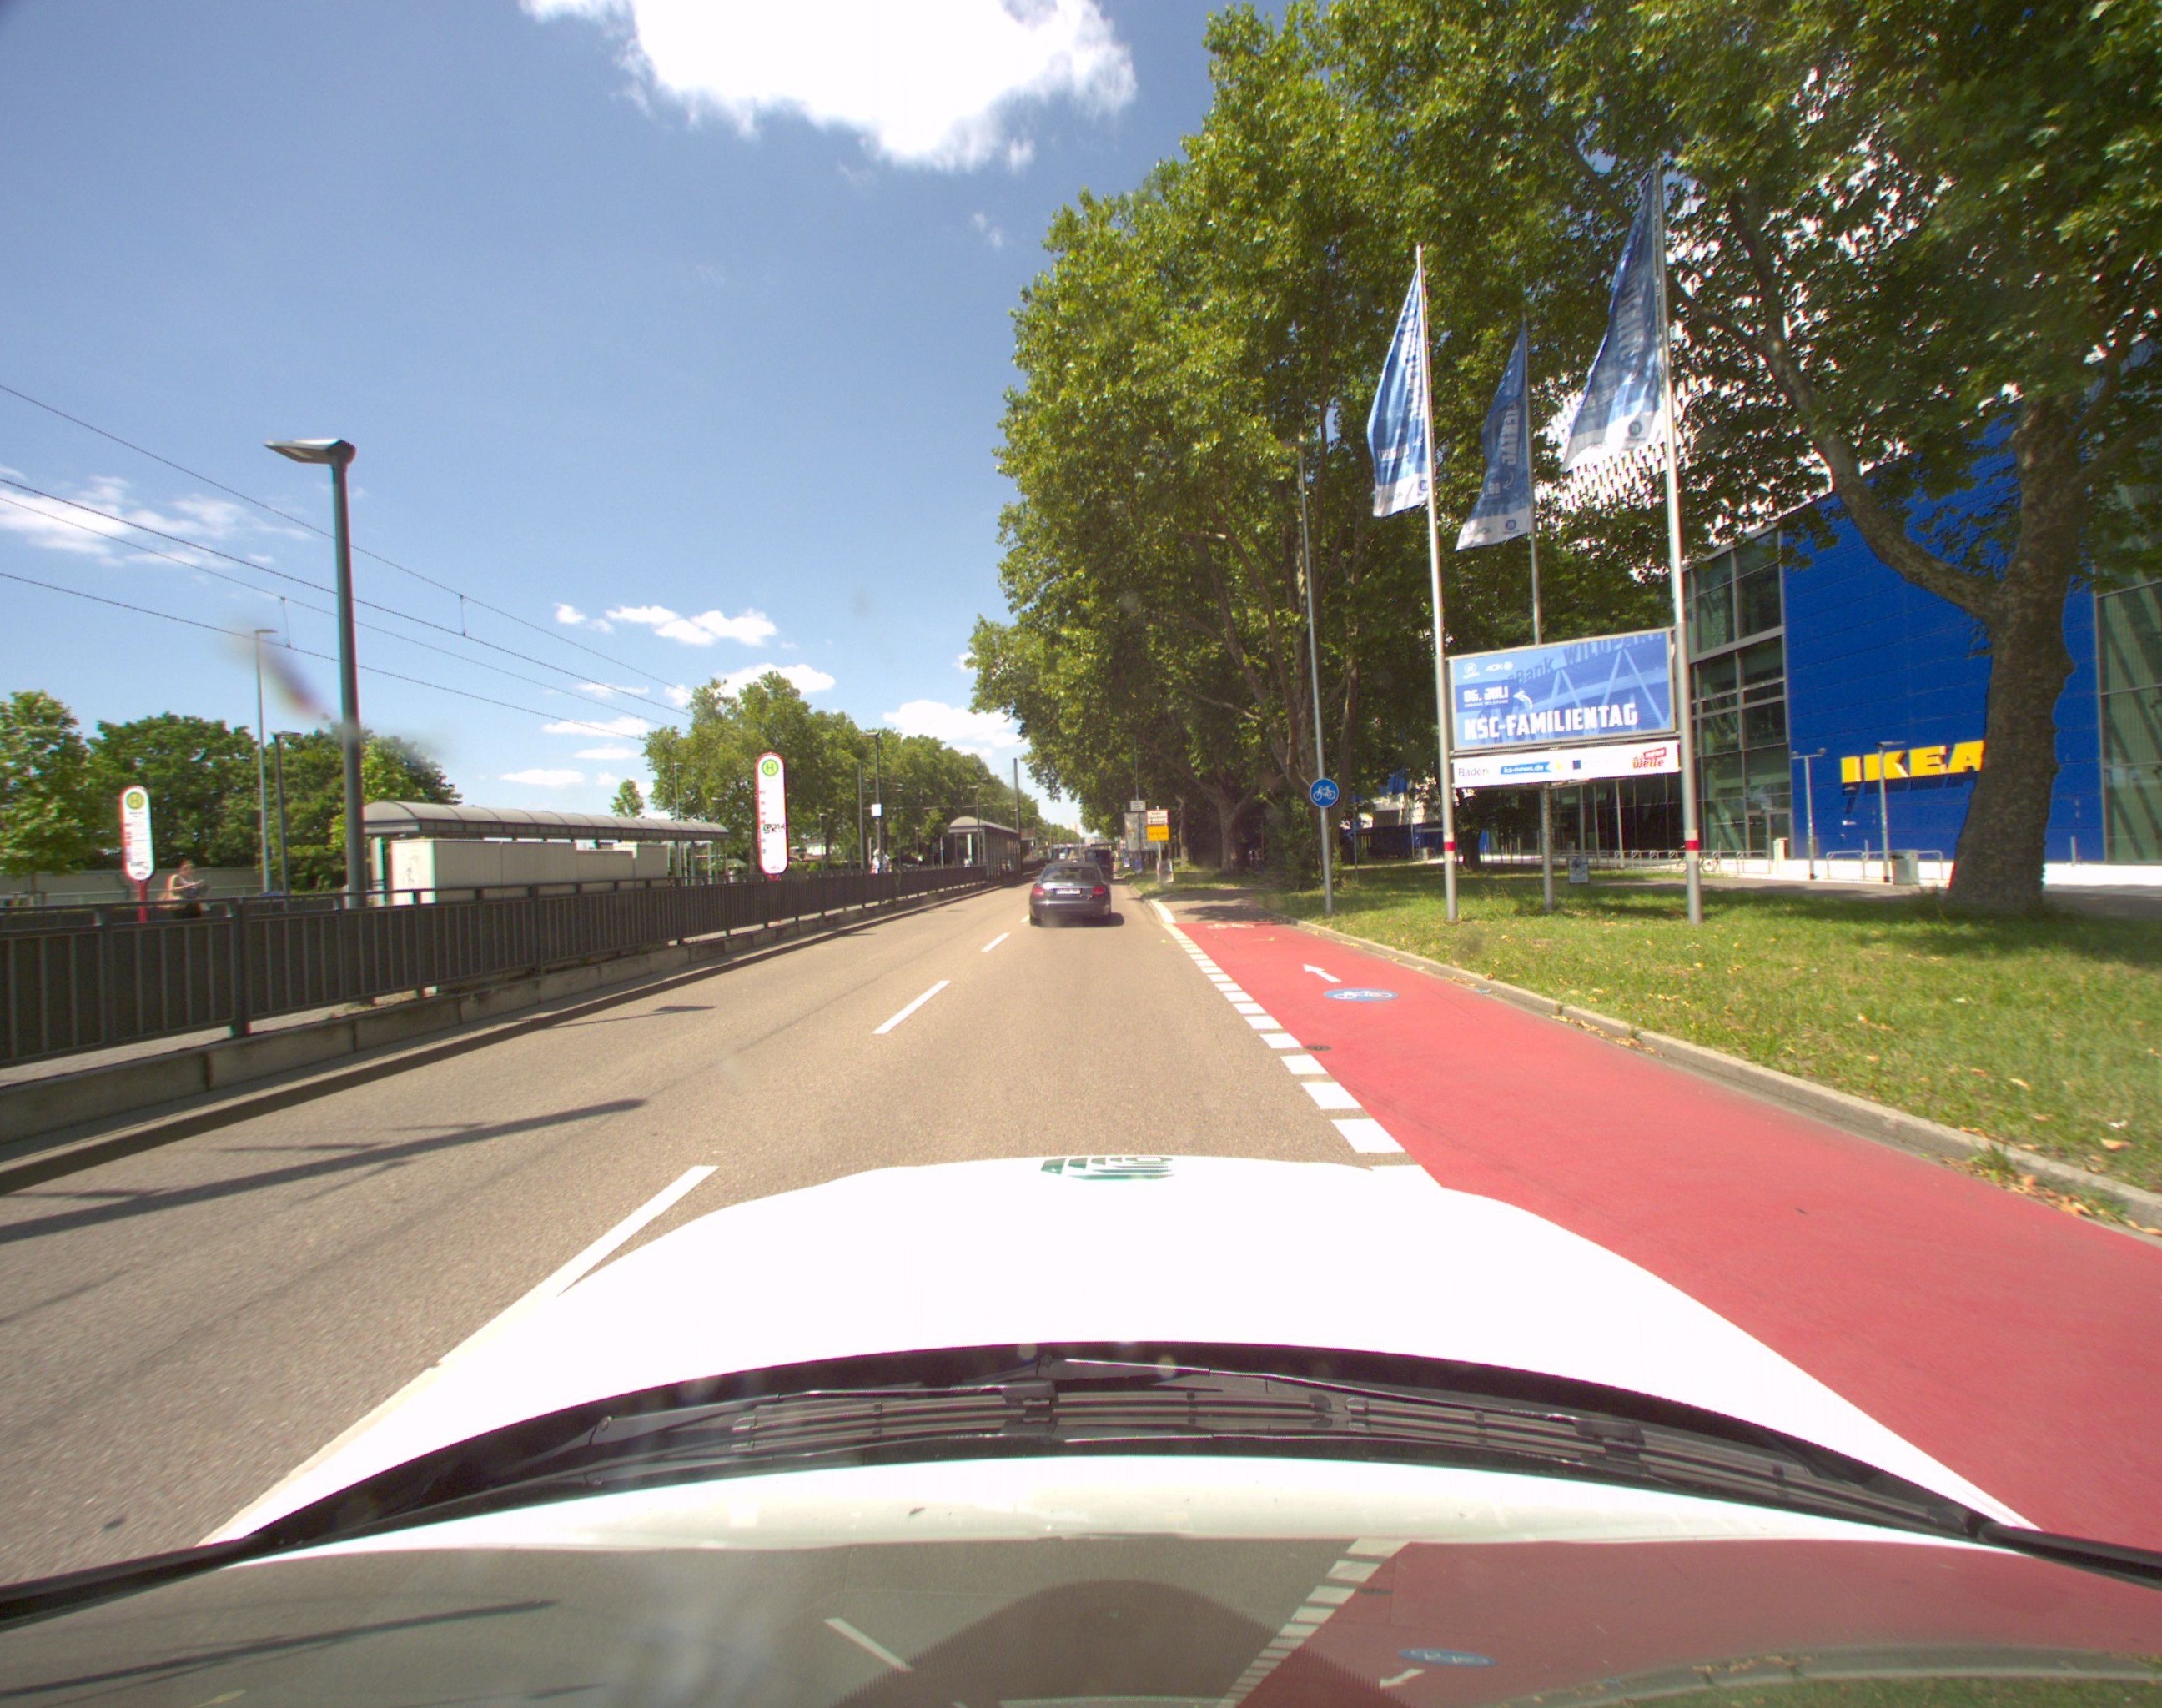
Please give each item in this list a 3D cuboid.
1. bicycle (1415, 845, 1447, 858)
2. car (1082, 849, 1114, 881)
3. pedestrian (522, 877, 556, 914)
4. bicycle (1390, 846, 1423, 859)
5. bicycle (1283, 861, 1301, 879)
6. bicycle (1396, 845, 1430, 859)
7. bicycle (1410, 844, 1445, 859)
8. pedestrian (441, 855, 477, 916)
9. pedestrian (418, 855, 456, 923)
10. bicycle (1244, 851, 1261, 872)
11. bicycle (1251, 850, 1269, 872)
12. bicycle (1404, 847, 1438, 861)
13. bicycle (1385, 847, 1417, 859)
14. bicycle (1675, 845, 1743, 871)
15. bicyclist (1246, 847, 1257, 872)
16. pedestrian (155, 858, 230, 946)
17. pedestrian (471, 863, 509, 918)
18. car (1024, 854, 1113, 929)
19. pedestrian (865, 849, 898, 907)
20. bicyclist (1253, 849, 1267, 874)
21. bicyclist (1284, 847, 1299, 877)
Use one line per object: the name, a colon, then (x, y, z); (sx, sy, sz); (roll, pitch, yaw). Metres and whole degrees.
bicycle: (28.146, -0.201, 65.487); (2.310, 0.960, 0.758); (-2, 0, -3)
car: (1.141, 0.677, 52.023); (1.840, 1.959, 4.148); (-1, 0, 4)
pedestrian: (-16.811, 1.276, 25.257); (0.574, 1.094, 0.639); (-2, 0, 2)
bicycle: (28.037, -0.125, 70.067); (2.539, 1.110, 0.758); (-2, 0, -3)
bicycle: (11.660, 0.878, 45.064); (0.642, 0.887, 2.026); (-2, 0, 6)
bicycle: (27.951, -0.141, 68.637); (2.539, 1.110, 0.758); (-2, 0, -3)
bicycle: (28.321, -0.190, 66.545); (2.539, 1.110, 0.758); (-2, 0, -3)
pedestrian: (-17.168, 0.871, 22.486); (0.817, 1.638, 0.582); (-2, 0, 39)
pedestrian: (-16.729, 0.906, 21.159); (0.729, 1.729, 0.582); (-2, 0, 39)
bicycle: (12.201, 0.503, 57.987); (0.608, 1.420, 2.662); (-2, 0, 1)
bicycle: (11.739, 0.455, 53.514); (0.608, 1.420, 2.662); (-2, 0, 1)
bicycle: (28.216, -0.016, 67.557); (2.539, 1.110, 0.758); (-2, 0, -3)
bicycle: (28.021, -0.110, 71.338); (2.539, 0.970, 0.758); (-2, 0, -3)
bicycle: (24.911, 0.159, 32.330); (2.054, 0.969, 0.868); (-2, 0, -2)
bicyclist: (12.215, 0.377, 58.272); (0.595, 1.746, 0.843); (-1, 0, 1)
pedestrian: (-17.313, 0.914, 15.880); (0.556, 1.638, 0.805); (-2, 0, -5)
pedestrian: (-16.962, 1.036, 23.379); (0.574, 1.533, 0.639); (-2, 0, 2)
car: (-0.192, 0.804, 19.319); (1.835, 1.484, 4.003); (-2, 0, 2)
pedestrian: (-5.831, 0.684, 23.872); (0.730, 1.665, 0.742); (-2, 0, 1)
bicyclist: (11.750, 0.476, 53.577); (0.656, 1.599, 1.054); (-2, -1, 2)
bicyclist: (11.623, 0.447, 45.013); (0.620, 1.610, 0.818); (-2, 0, 5)
